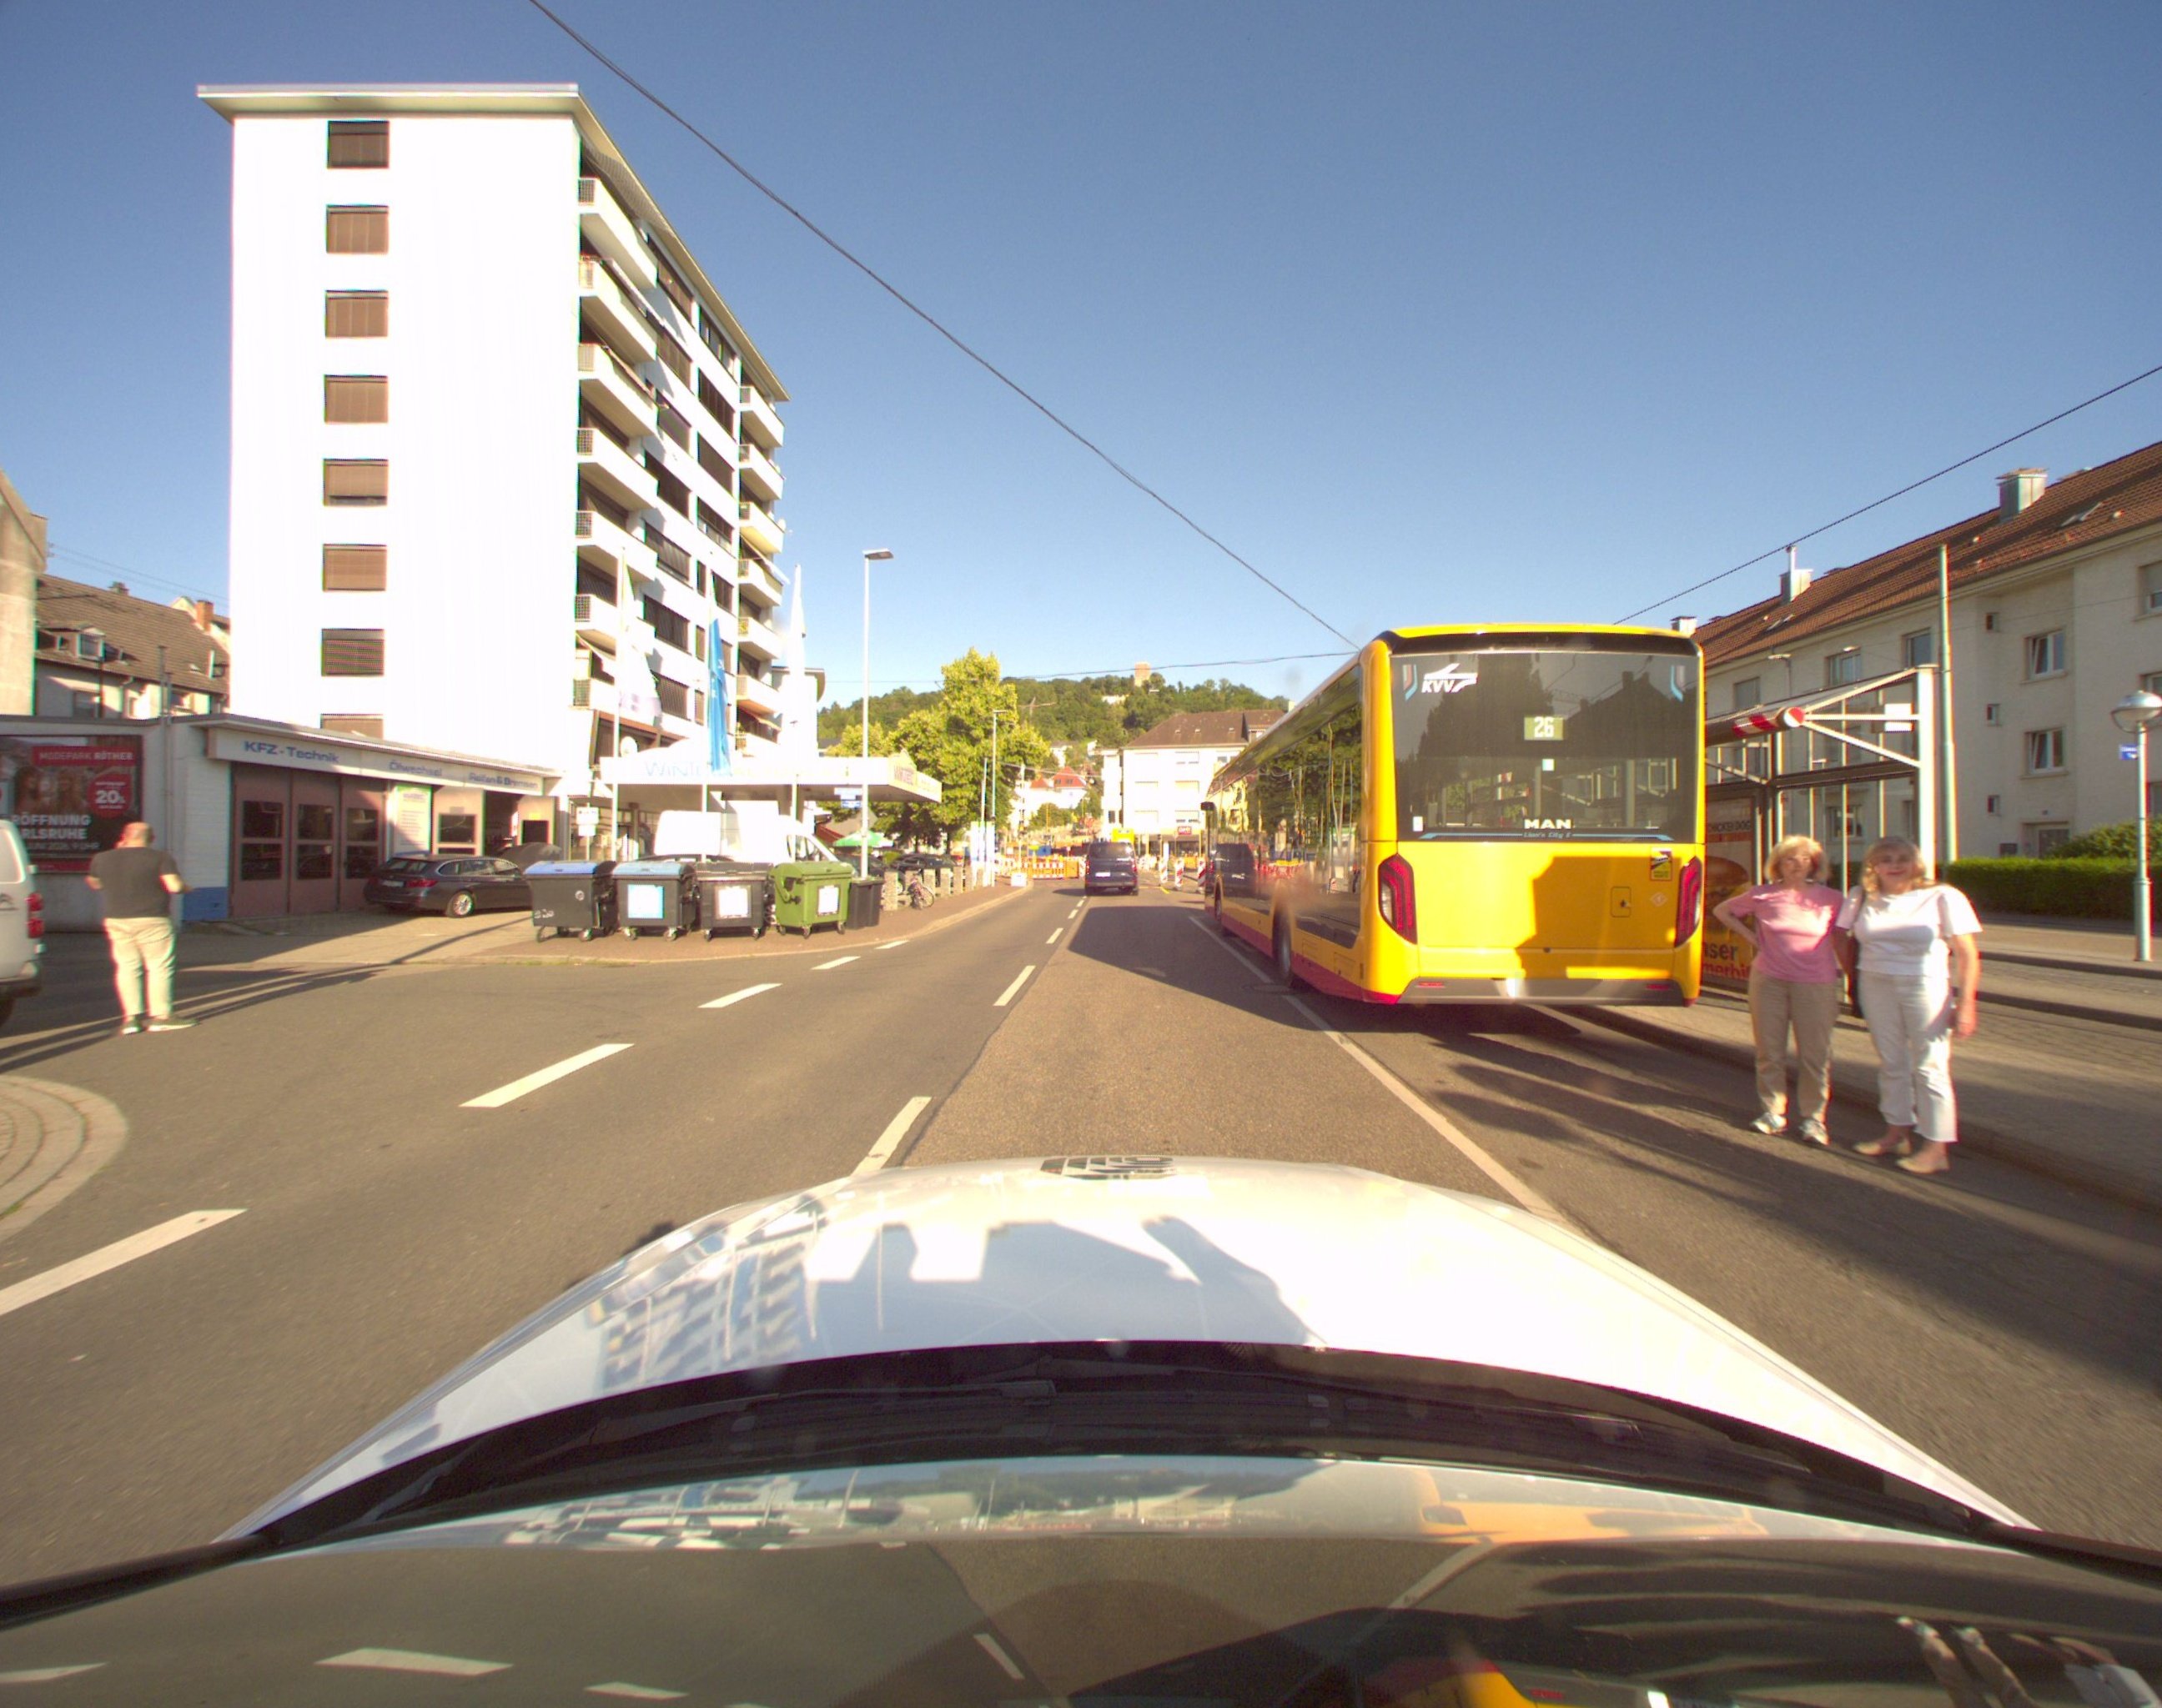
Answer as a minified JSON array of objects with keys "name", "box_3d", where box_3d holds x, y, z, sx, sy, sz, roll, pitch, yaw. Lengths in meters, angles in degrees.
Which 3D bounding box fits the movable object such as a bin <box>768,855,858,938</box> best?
[{"name":"movable object such as a bin","box_3d":[-5.295,0.807,16.156,1.045,1.482,1.321,2,3,31]}]

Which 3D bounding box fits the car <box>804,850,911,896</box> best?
[{"name":"car","box_3d":[-7.972,0.650,29.229,1.601,1.568,3.414,0,-1,41]}]

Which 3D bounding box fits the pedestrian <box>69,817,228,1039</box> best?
[{"name":"pedestrian","box_3d":[-8.440,0.621,7.423,0.824,1.868,0.786,0,0,-39]}]

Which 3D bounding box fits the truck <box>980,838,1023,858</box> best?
[{"name":"truck","box_3d":[-9.974,-0.734,103.619,2.339,2.415,9.188,0,0,15]}]

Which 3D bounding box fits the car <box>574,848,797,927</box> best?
[{"name":"car","box_3d":[-8.414,0.705,17.671,3.990,1.568,1.766,1,0,-12]}]

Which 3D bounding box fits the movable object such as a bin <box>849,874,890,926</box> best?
[{"name":"movable object such as a bin","box_3d":[-4.620,0.991,17.805,0.635,1.069,0.582,1,3,15]}]

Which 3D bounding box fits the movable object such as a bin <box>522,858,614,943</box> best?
[{"name":"movable object such as a bin","box_3d":[-9.356,0.827,14.888,1.175,1.482,0.704,0,3,-2]}]

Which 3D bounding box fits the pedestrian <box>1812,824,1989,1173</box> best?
[{"name":"pedestrian","box_3d":[4.175,0.671,4.157,0.548,1.613,0.544,0,-1,-35]}]

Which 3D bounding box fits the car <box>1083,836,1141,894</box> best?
[{"name":"car","box_3d":[1.212,0.417,31.274,2.053,2.014,5.003,-1,-1,3]}]

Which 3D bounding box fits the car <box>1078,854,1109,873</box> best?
[{"name":"car","box_3d":[0.927,0.690,61.831,1.793,1.409,3.989,0,0,-8]}]

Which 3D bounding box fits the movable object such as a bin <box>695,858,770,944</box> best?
[{"name":"movable object such as a bin","box_3d":[-6.490,0.850,15.155,1.224,1.482,0.698,-1,3,-26]}]

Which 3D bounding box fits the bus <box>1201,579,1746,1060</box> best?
[{"name":"bus","box_3d":[3.673,-0.252,11.832,2.677,3.416,12.027,0,0,3]}]

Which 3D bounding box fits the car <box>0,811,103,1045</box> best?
[{"name":"car","box_3d":[-11.233,0.620,6.412,4.599,1.933,2.000,0,-1,0]}]

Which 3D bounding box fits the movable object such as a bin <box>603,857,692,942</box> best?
[{"name":"movable object such as a bin","box_3d":[-7.977,0.822,15.030,1.215,1.482,0.704,0,3,-2]}]

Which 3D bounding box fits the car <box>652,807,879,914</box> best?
[{"name":"car","box_3d":[-7.821,0.186,20.622,5.071,2.469,2.095,1,0,-20]}]

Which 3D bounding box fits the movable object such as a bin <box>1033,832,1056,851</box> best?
[{"name":"movable object such as a bin","box_3d":[-5.075,-1.738,113.955,2.175,2.690,4.015,0,0,14]}]

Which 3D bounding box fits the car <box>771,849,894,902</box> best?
[{"name":"car","box_3d":[-7.898,0.649,26.025,3.413,1.568,1.602,1,-1,-44]}]

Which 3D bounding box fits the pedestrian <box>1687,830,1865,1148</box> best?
[{"name":"pedestrian","box_3d":[3.864,0.685,4.544,0.548,1.613,0.629,0,-1,-35]}]

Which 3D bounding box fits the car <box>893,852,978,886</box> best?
[{"name":"car","box_3d":[-6.762,0.653,37.510,1.921,1.454,4.262,1,0,-42]}]

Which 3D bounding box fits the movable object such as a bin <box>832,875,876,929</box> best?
[{"name":"movable object such as a bin","box_3d":[-4.794,0.998,17.200,0.655,1.062,0.587,2,2,15]}]

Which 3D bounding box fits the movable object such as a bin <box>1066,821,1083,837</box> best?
[{"name":"movable object such as a bin","box_3d":[-1.119,-4.546,148.371,2.175,2.690,4.015,0,0,14]}]

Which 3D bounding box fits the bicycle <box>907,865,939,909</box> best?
[{"name":"bicycle","box_3d":[-4.440,0.905,22.993,0.722,1.178,1.777,0,0,-6]}]

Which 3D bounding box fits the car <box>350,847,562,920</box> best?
[{"name":"car","box_3d":[-15.073,0.642,20.013,1.760,1.568,4.317,1,0,1]}]
